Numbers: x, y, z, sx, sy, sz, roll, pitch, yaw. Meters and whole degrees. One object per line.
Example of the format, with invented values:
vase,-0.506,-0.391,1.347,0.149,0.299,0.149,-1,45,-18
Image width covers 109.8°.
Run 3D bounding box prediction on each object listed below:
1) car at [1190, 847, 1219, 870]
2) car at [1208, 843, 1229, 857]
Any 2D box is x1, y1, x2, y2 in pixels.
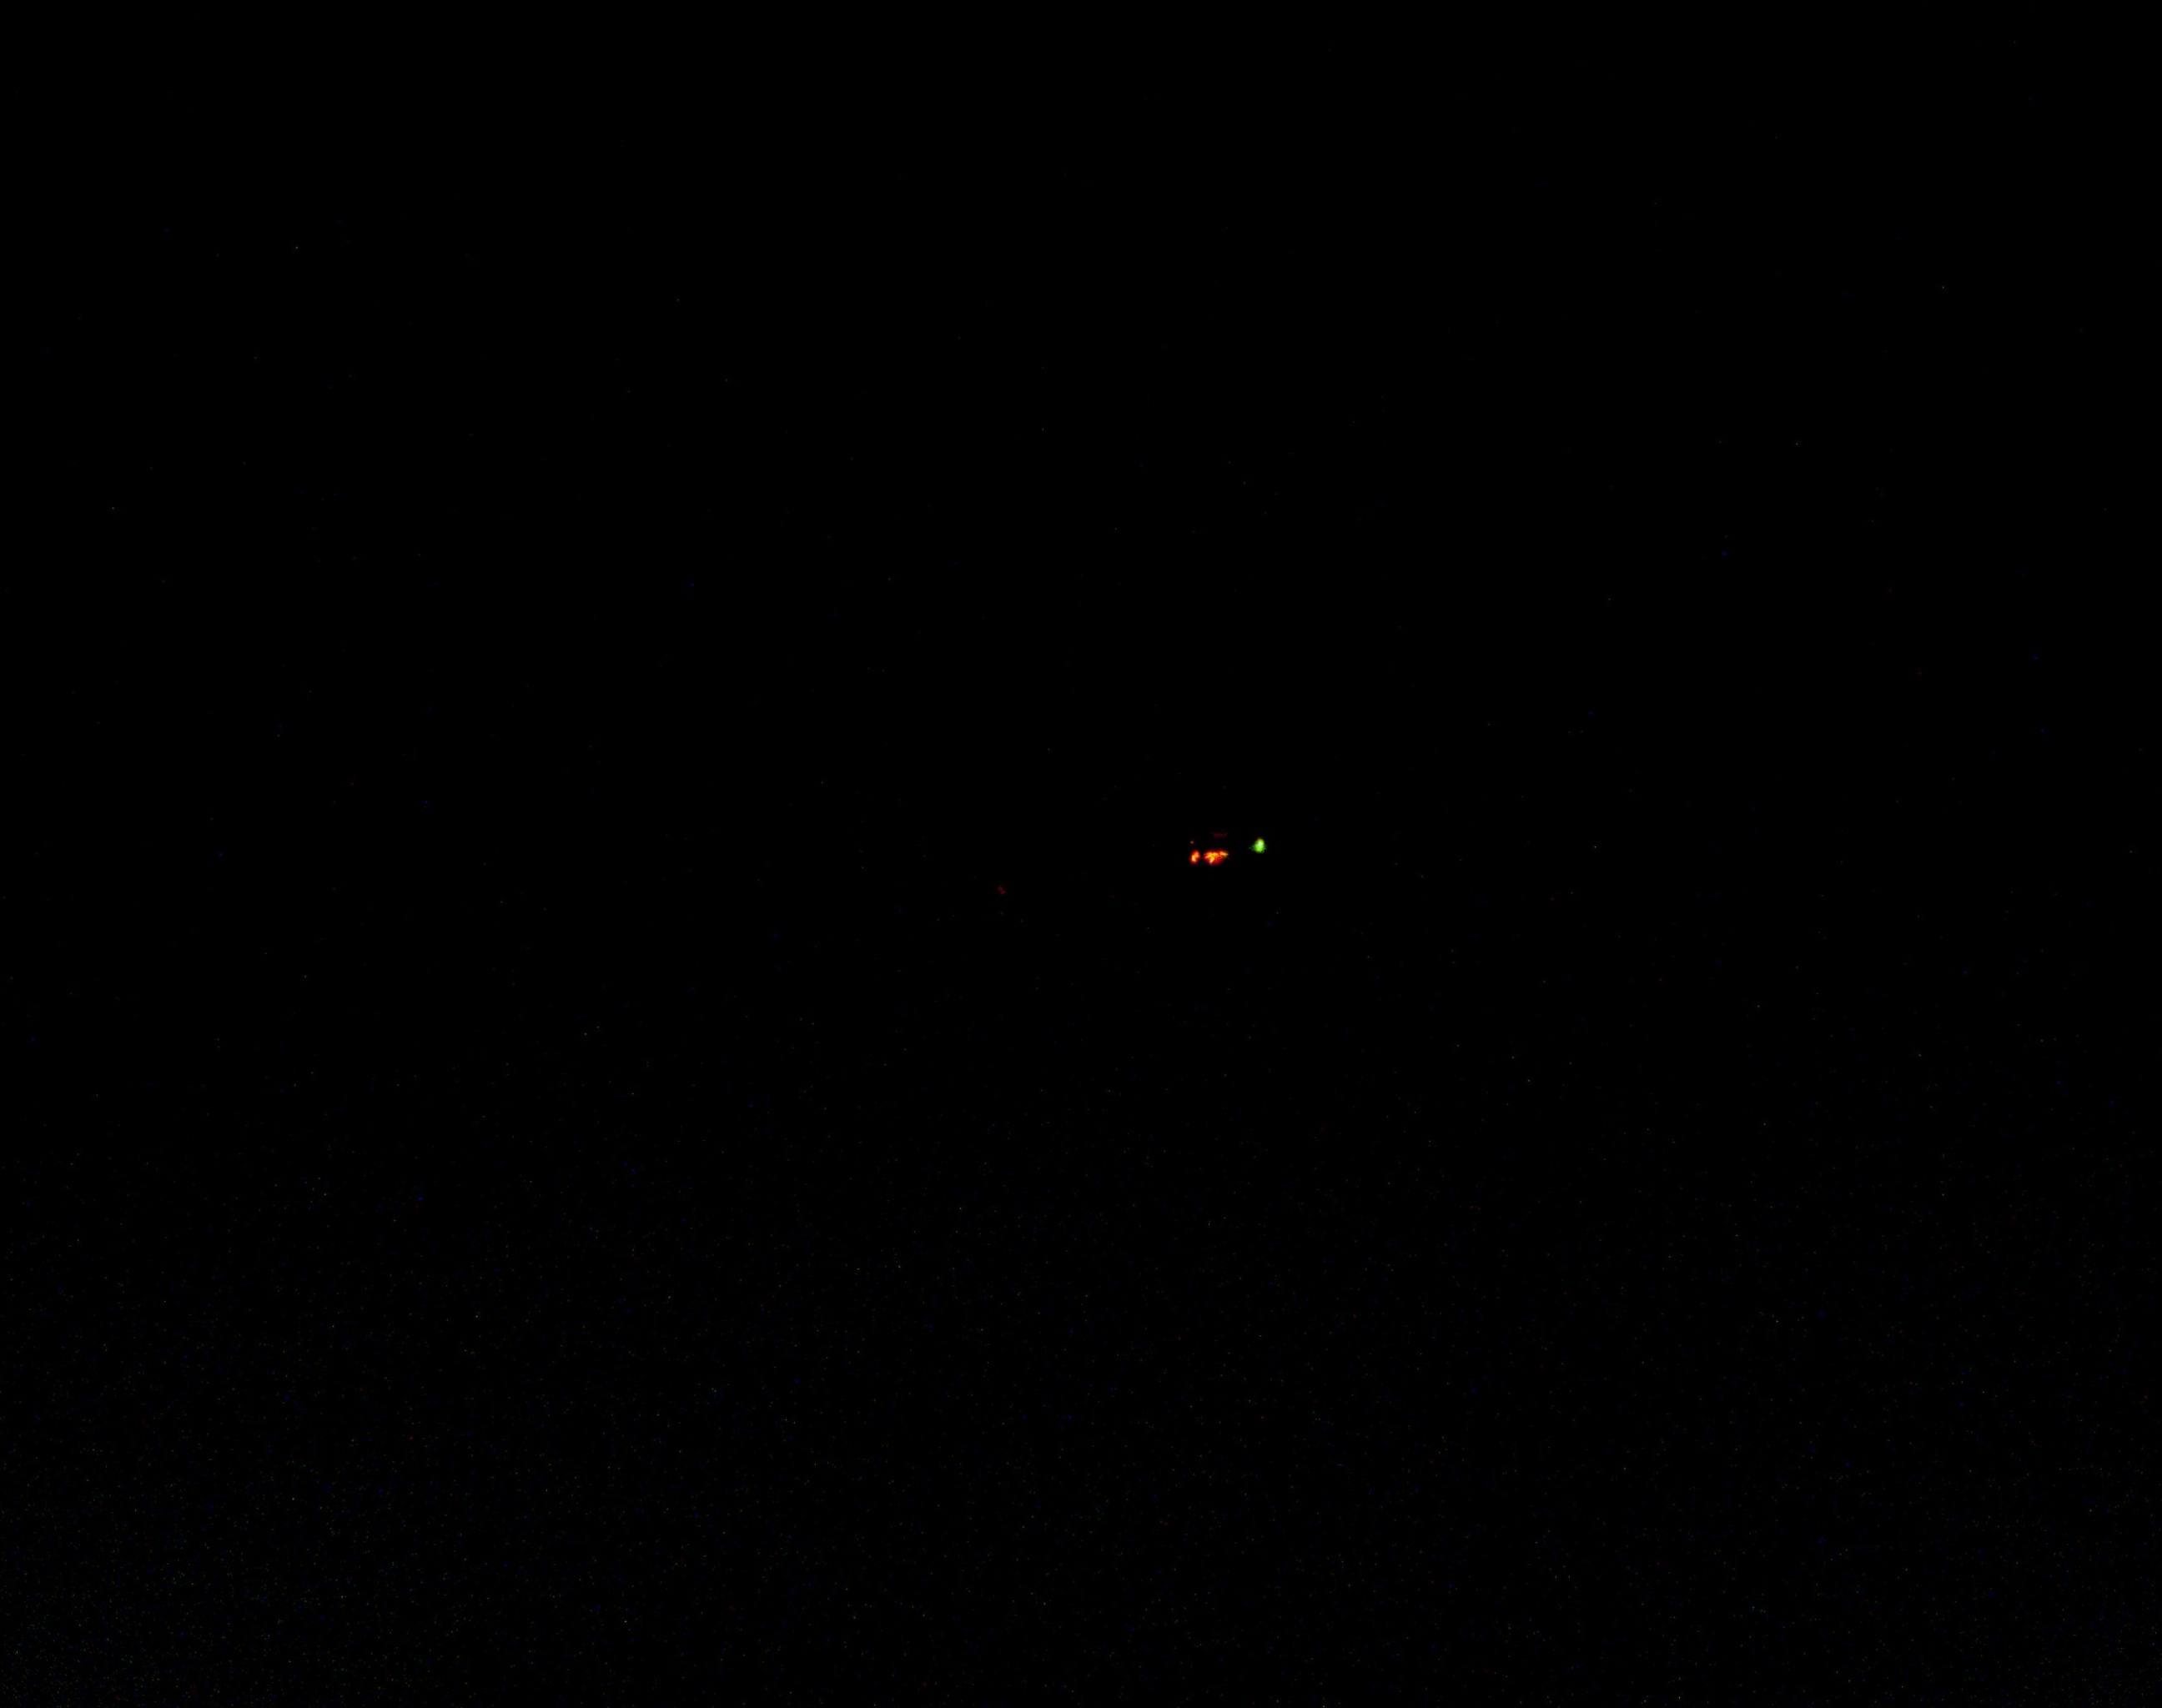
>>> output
car,9.707,0.293,59.825,1.997,1.698,4.986,0,1,7
car,16.393,-0.536,90.285,1.933,1.575,4.990,1,1,16
